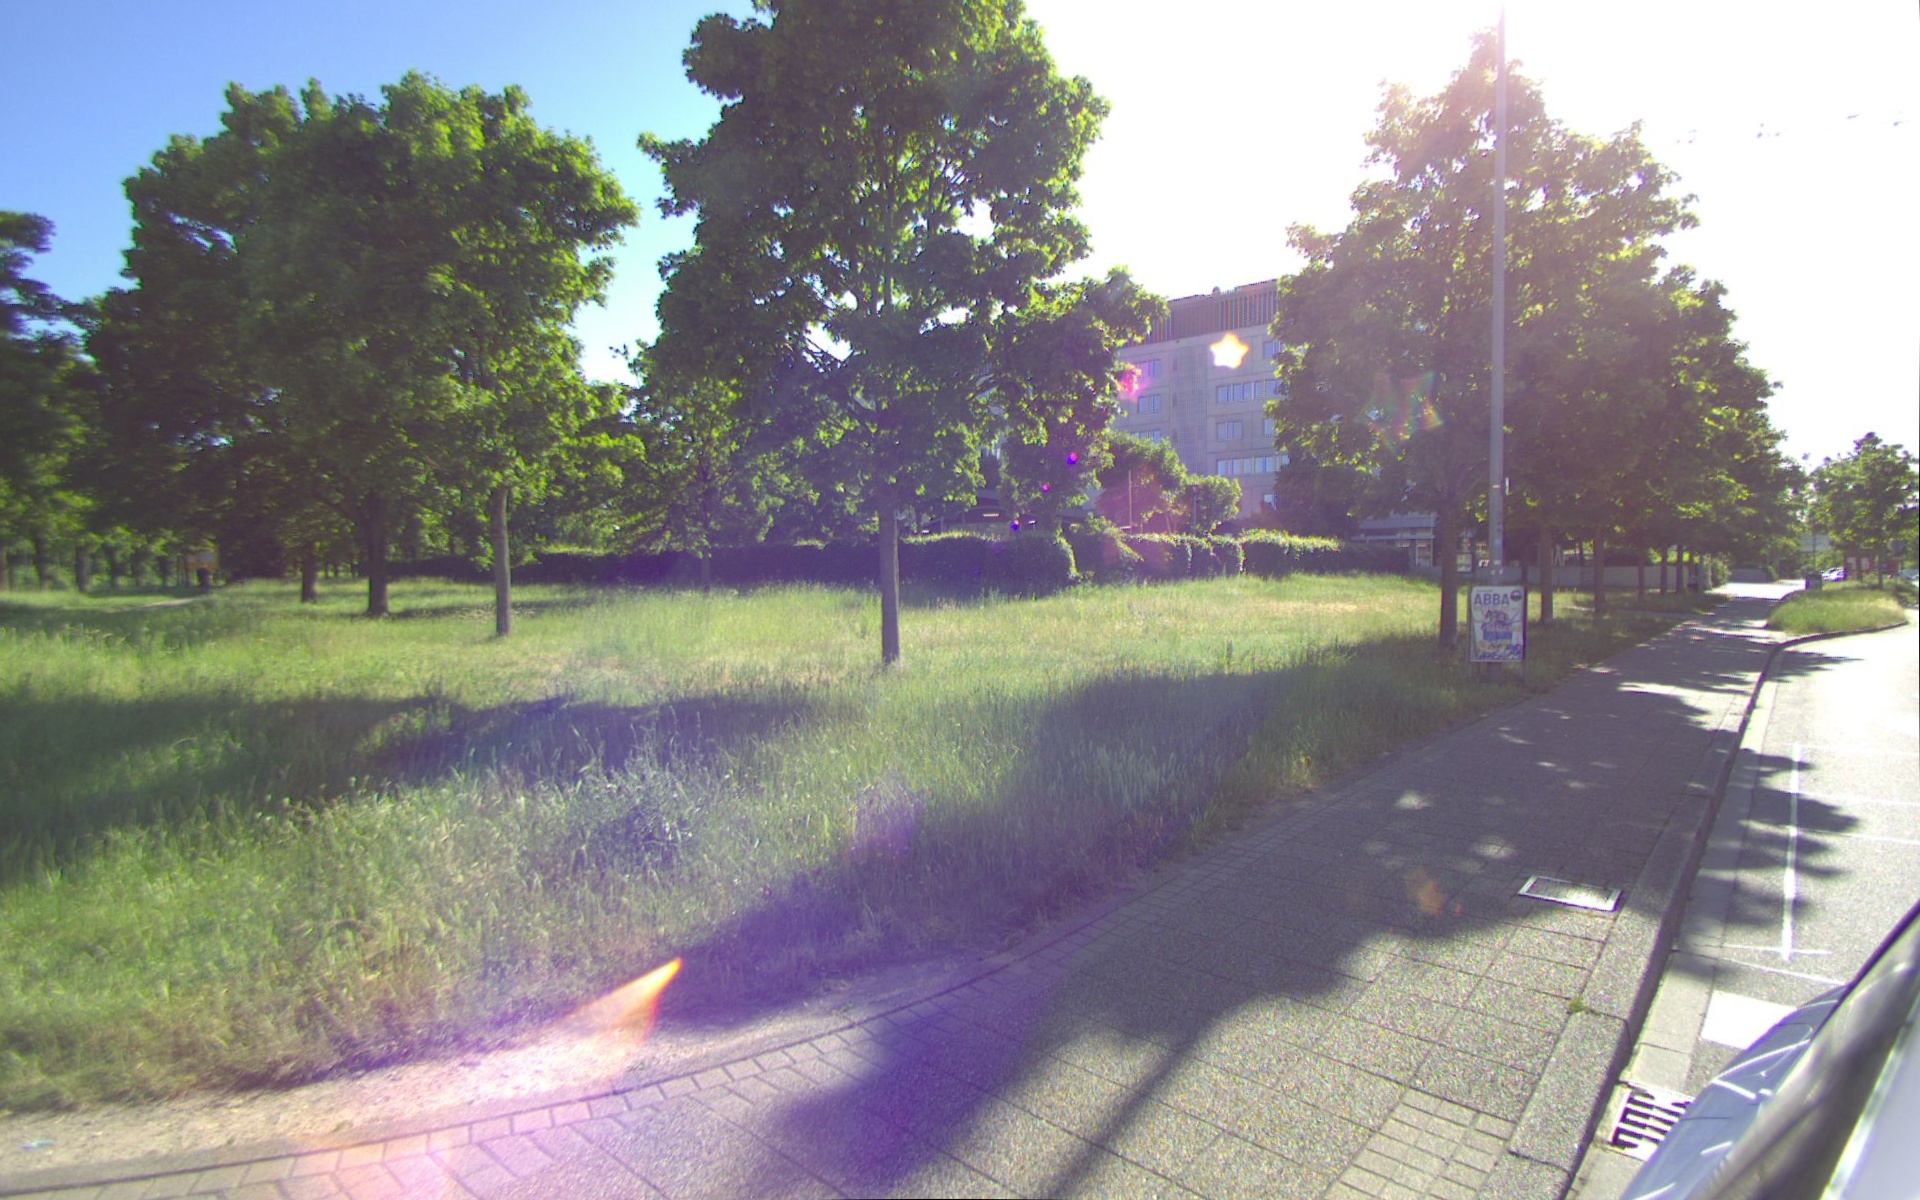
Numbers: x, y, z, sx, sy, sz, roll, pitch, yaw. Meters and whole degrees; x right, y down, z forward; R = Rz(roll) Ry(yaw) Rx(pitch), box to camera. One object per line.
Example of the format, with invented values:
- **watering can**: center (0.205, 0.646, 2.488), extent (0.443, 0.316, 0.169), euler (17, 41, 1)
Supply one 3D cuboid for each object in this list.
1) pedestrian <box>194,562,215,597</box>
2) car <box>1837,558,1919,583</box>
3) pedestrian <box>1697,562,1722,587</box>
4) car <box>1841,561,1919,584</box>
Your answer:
- **pedestrian**: center (-38.562, -1.063, 51.674), extent (0.886, 1.748, 0.728), euler (1, 2, 45)
- **car**: center (62.701, -2.043, 68.973), extent (4.399, 1.661, 2.044), euler (2, 3, 42)
- **pedestrian**: center (36.810, -1.264, 49.712), extent (0.840, 1.232, 0.721), euler (2, 2, 29)
- **car**: center (61.372, -1.857, 67.144), extent (4.399, 1.481, 1.867), euler (2, 3, 42)
